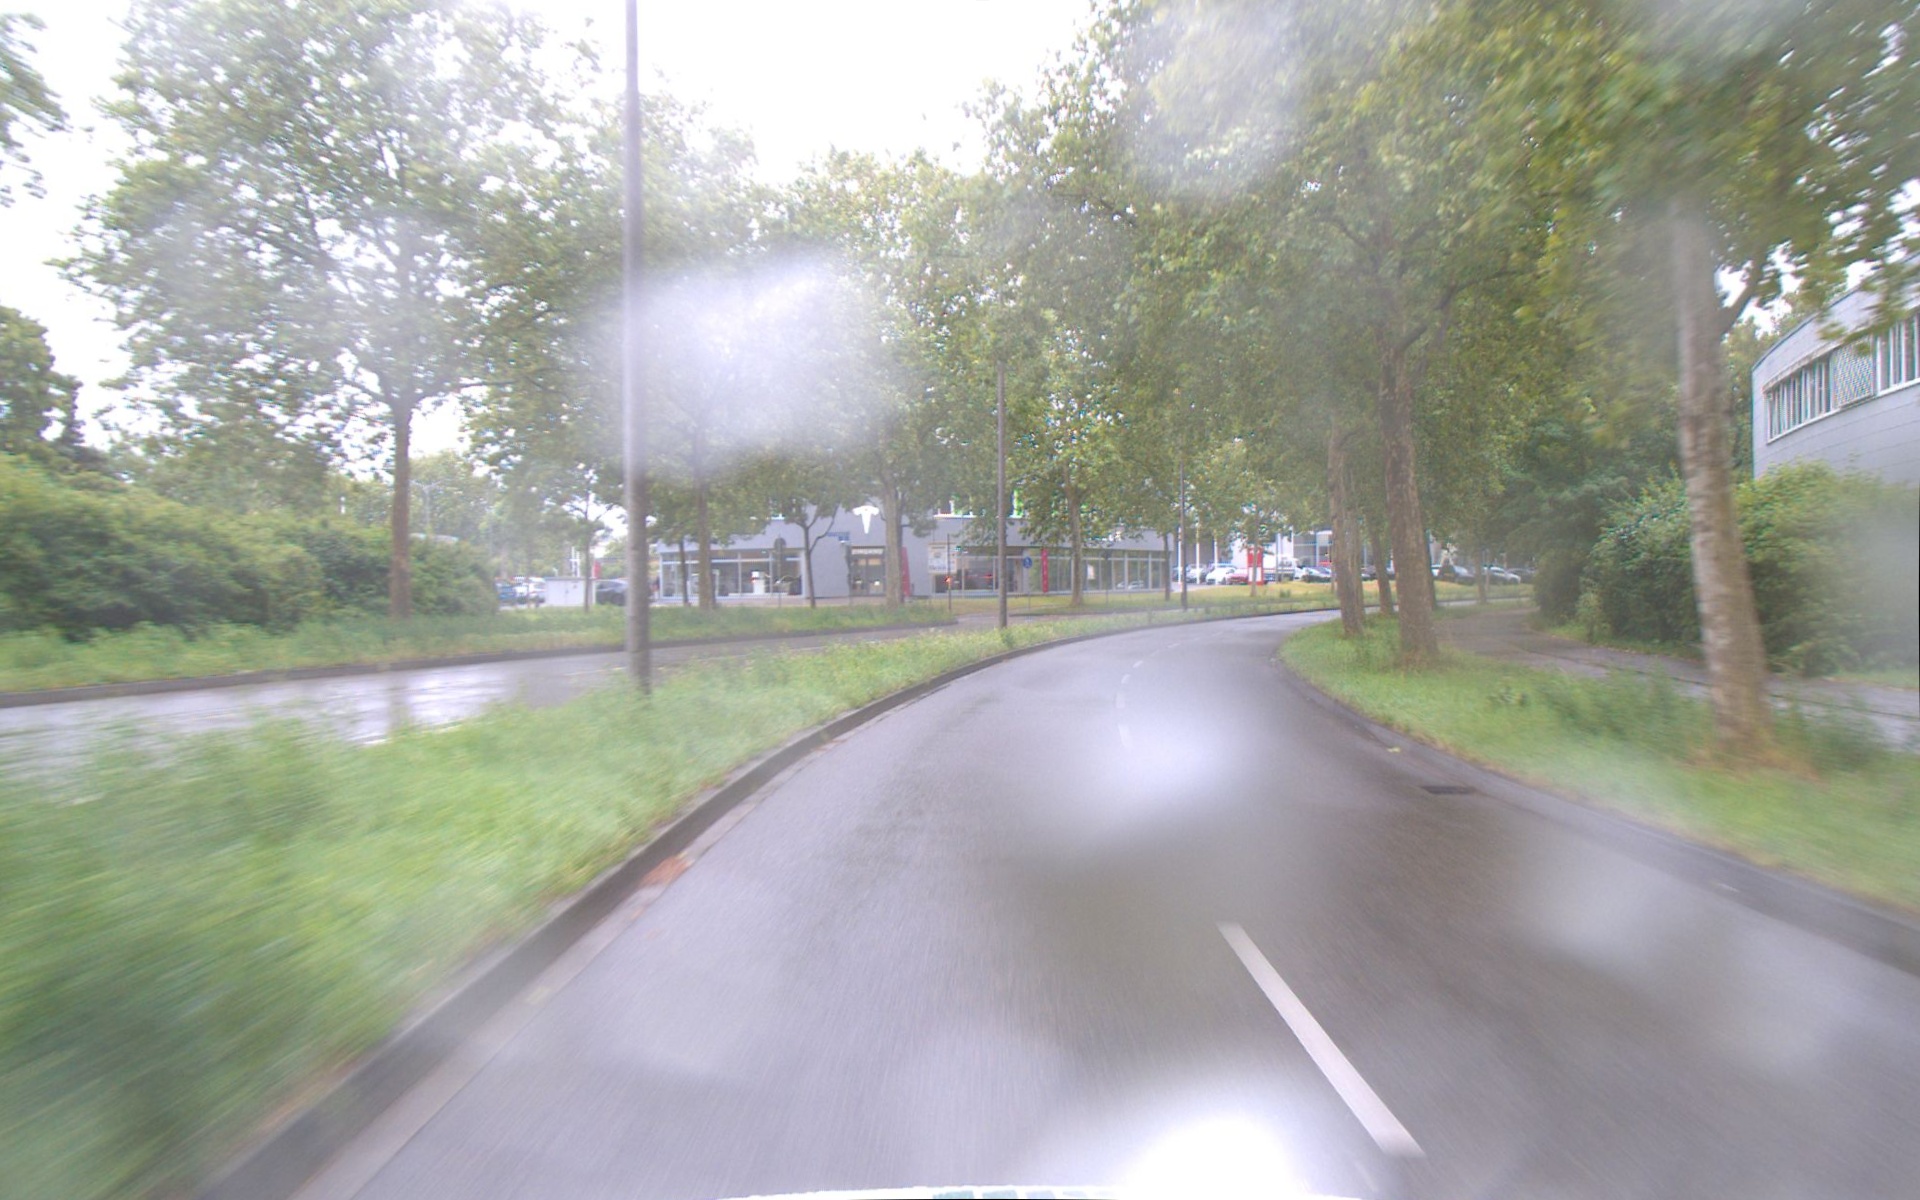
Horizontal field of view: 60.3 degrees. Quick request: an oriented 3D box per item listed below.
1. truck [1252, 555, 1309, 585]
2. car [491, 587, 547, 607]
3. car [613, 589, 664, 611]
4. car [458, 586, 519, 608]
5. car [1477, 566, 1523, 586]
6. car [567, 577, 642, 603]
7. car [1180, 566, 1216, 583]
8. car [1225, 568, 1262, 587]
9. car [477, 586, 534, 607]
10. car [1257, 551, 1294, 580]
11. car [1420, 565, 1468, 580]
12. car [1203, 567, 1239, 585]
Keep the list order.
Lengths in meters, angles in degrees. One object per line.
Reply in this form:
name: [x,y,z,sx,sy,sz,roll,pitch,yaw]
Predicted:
truck: [28.638,-2.674,147.718,2.214,2.384,6.160,4,5,41]
car: [-32.998,-0.242,123.868,3.681,1.520,1.599,0,1,5]
car: [-22.756,0.001,117.203,3.236,1.520,1.599,0,1,5]
car: [-32.543,-0.230,114.167,3.681,1.520,1.599,0,1,5]
car: [54.933,-2.474,168.312,4.032,1.503,1.850,5,7,1]
car: [-21.431,-0.605,99.716,4.103,1.520,1.599,0,1,5]
car: [22.021,-2.379,152.901,1.732,1.421,4.145,2,4,34]
car: [25.630,-2.054,149.354,1.732,1.492,4.145,2,4,34]
car: [-33.002,-0.237,120.106,3.681,1.520,1.599,0,1,5]
car: [31.625,-3.504,165.971,2.123,2.800,5.331,1,2,-7]
car: [49.621,-2.823,169.478,4.352,1.499,1.911,1,2,39]
car: [23.956,-2.233,151.630,1.732,1.421,4.145,2,4,34]
